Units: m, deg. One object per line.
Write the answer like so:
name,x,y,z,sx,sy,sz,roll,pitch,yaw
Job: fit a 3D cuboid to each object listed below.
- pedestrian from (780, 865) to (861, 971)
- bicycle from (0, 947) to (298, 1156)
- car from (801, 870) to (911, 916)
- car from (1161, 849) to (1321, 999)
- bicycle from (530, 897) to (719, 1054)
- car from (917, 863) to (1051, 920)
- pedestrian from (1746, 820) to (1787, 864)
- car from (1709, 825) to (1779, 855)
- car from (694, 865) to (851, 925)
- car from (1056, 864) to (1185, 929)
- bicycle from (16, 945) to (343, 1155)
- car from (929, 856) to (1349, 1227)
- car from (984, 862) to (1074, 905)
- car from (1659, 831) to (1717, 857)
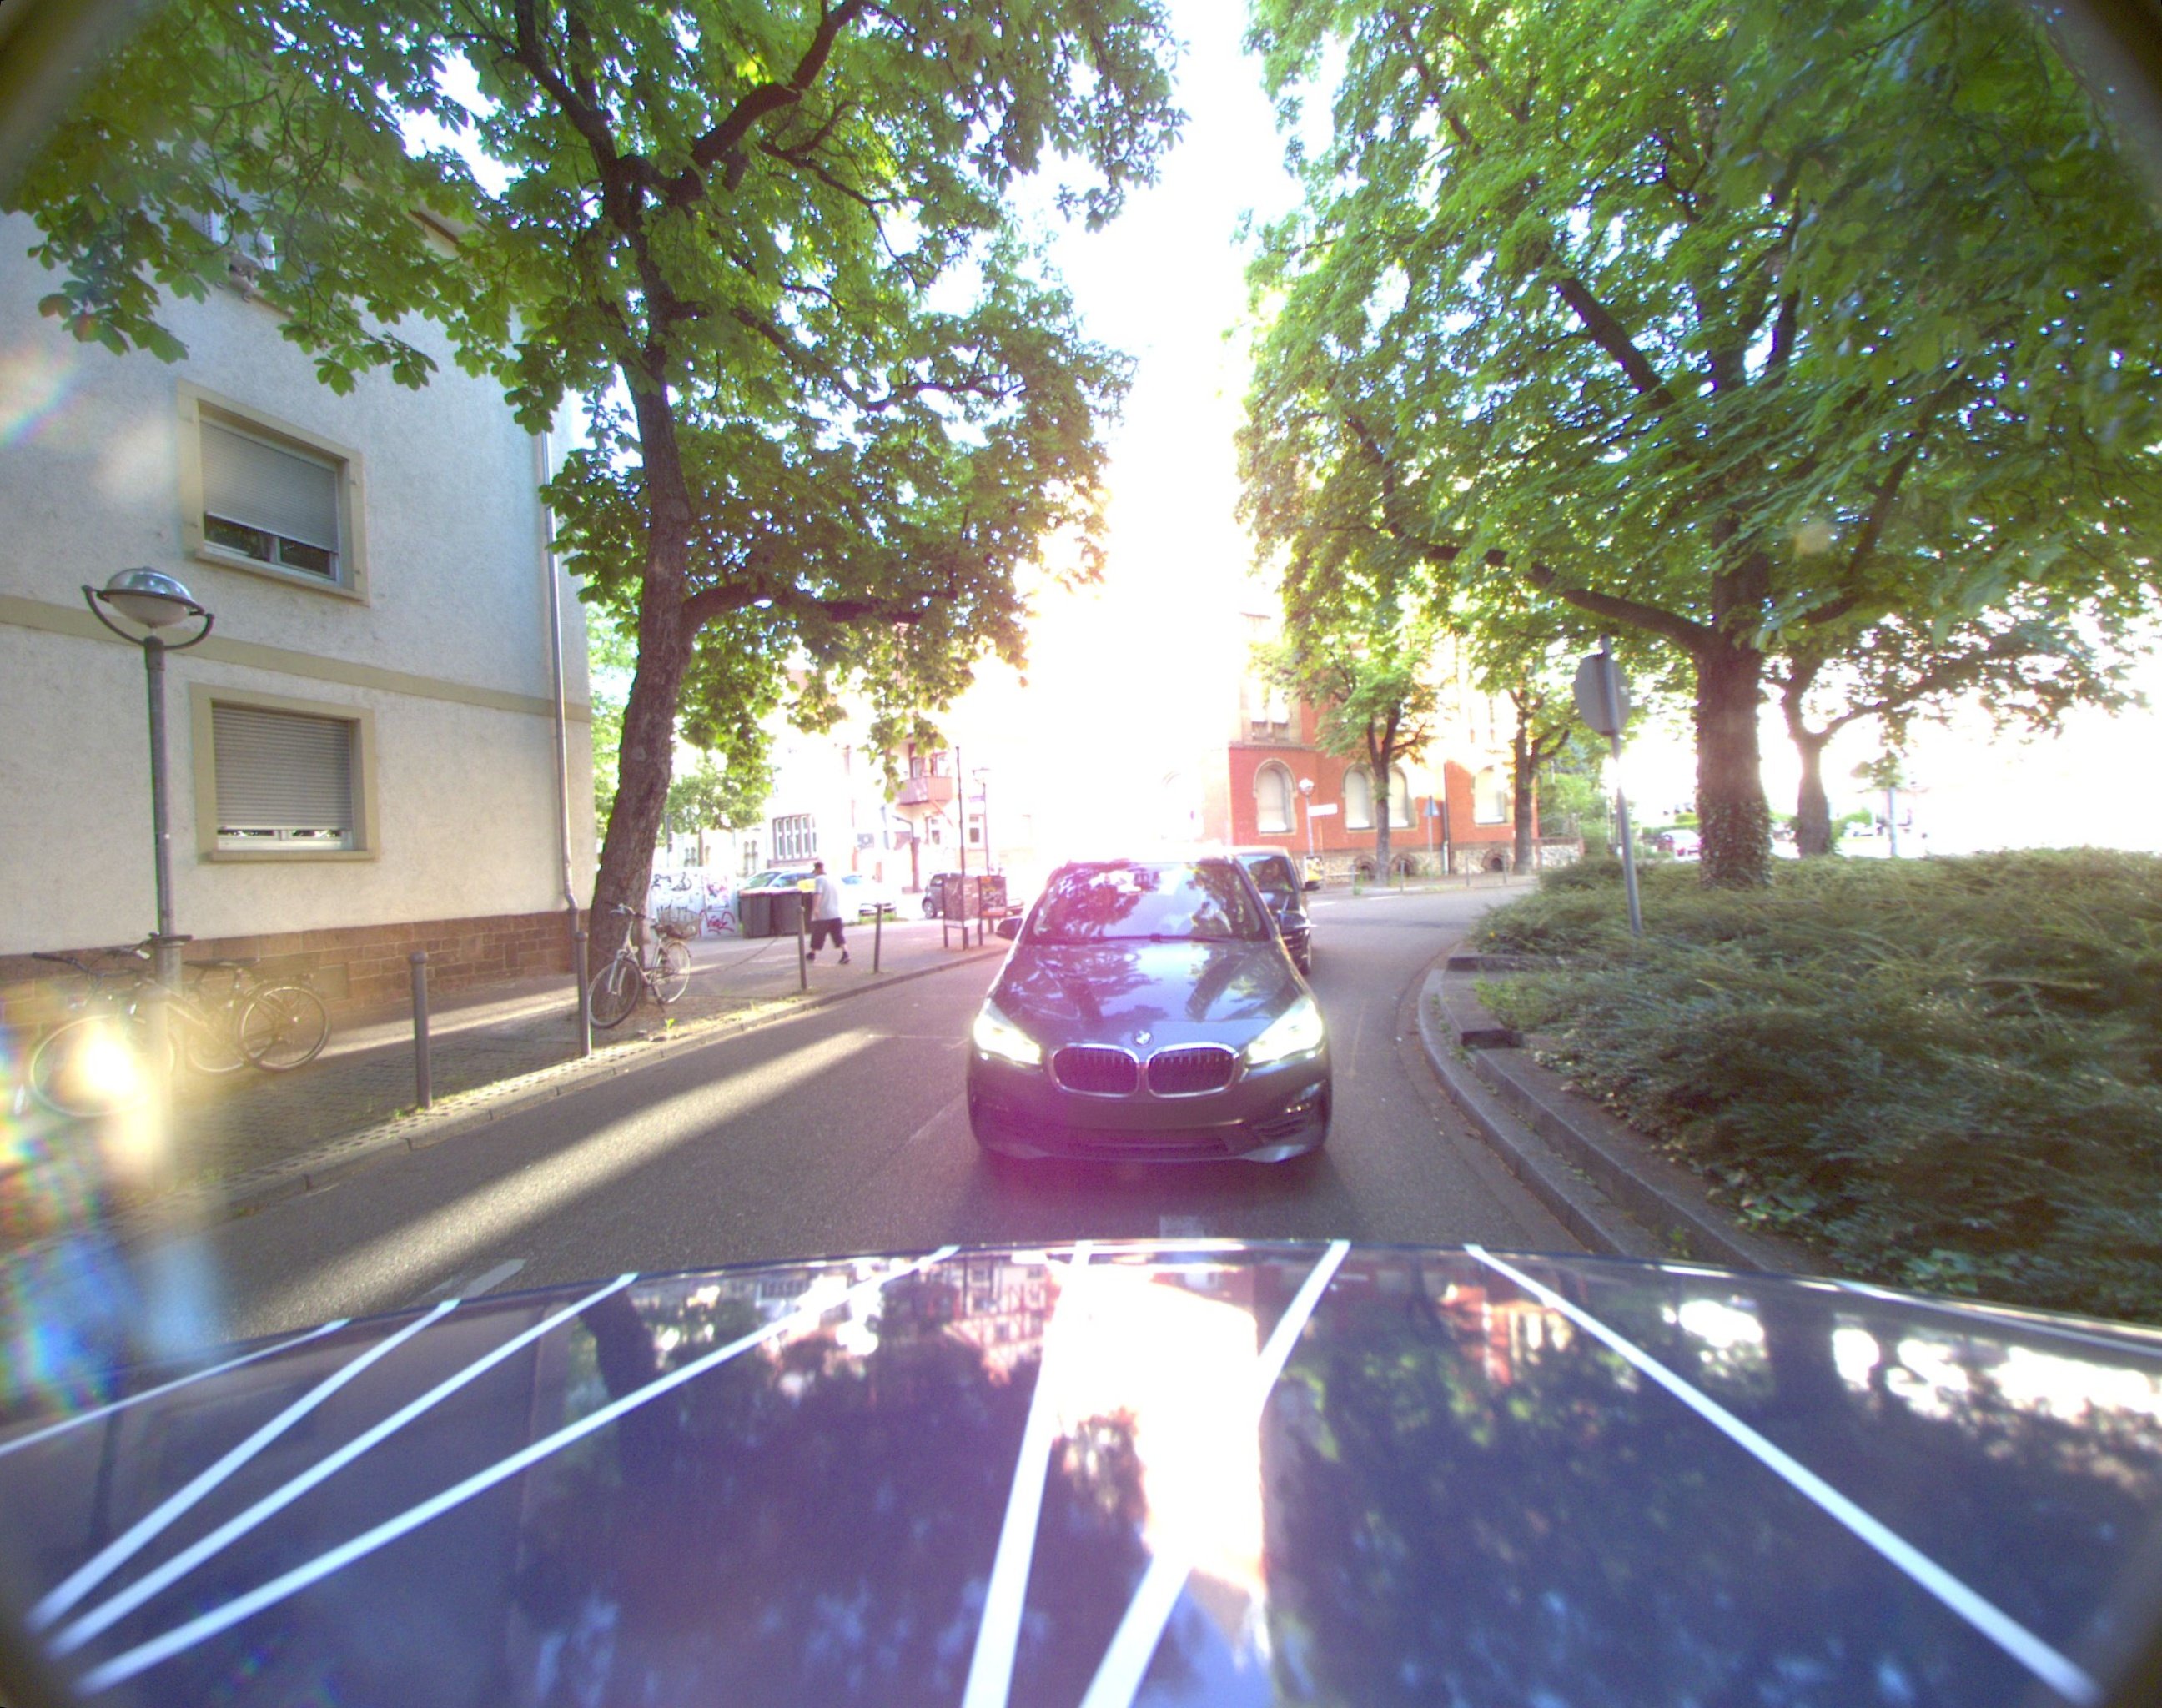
pedestrian,-4.043,0.983,11.834,0.944,1.583,0.643,-1,1,8
bicycle,-6.733,1.325,5.507,0.334,1.087,1.636,-3,0,1
car,-8.481,1.462,28.458,4.175,1.543,1.809,-3,0,39
car,2.254,0.795,10.333,1.678,1.619,3.691,-3,0,15
bicycle,-4.600,1.158,7.853,0.767,1.297,1.903,-3,0,-1
car,-3.033,1.158,23.443,4.041,1.543,1.700,-3,0,39
pedestrian,27.225,-0.466,30.186,0.905,1.625,0.725,-5,0,-13
car,35.148,-0.734,40.383,1.732,1.409,4.006,-3,0,25
car,-8.804,1.131,21.938,1.672,1.417,3.811,-3,0,36
car,0.891,1.007,18.825,1.475,1.381,3.394,-3,0,-32
bicycle,-6.365,1.312,5.512,0.334,1.087,1.636,-3,0,1
car,0.464,0.850,5.477,1.792,1.569,4.262,-2,0,6
car,-2.029,1.134,29.092,3.207,1.530,1.495,-2,0,38
car,38.126,-0.681,47.826,1.733,1.409,4.004,-3,2,21
